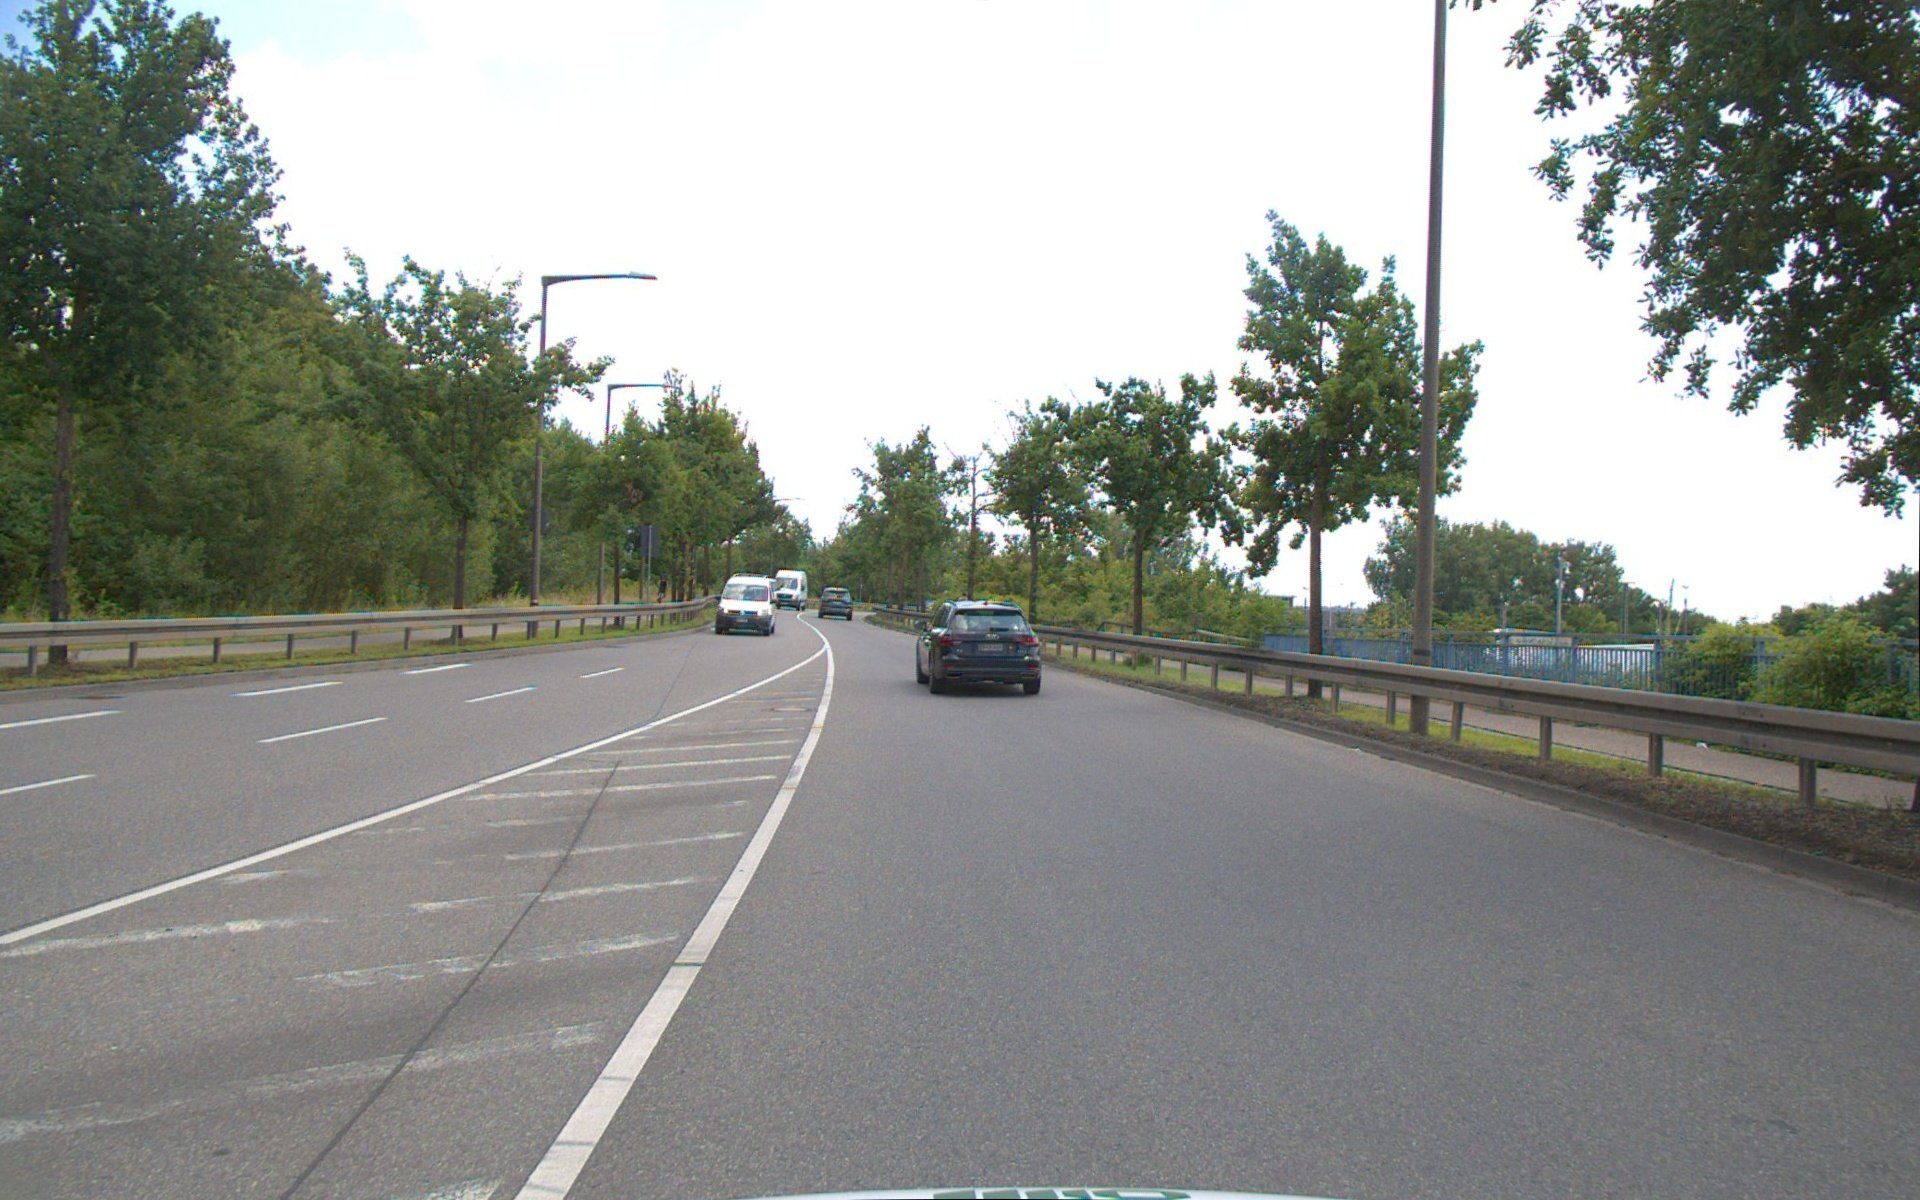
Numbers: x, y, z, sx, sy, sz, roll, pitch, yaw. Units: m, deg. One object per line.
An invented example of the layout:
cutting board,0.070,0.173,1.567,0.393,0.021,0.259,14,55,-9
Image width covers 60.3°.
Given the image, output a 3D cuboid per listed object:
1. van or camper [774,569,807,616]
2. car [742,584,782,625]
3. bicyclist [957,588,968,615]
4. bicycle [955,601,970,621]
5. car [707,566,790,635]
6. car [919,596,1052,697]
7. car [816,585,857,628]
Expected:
van or camper,-11.190,-0.452,108.887,1.956,2.798,5.377,4,-2,-7
car,-10.766,0.281,89.750,1.956,2.049,4.447,4,-2,-8
bicyclist,0.112,0.080,75.591,0.464,1.189,0.826,1,-2,-2
bicycle,0.104,0.503,75.492,0.531,0.881,1.748,4,-2,-3
car,-6.829,-0.001,53.919,1.952,2.048,4.559,3,1,1
car,0.342,0.730,27.404,1.953,1.415,4.574,3,-1,-1
car,-6.702,0.367,89.934,1.953,2.073,4.710,2,-2,-2
